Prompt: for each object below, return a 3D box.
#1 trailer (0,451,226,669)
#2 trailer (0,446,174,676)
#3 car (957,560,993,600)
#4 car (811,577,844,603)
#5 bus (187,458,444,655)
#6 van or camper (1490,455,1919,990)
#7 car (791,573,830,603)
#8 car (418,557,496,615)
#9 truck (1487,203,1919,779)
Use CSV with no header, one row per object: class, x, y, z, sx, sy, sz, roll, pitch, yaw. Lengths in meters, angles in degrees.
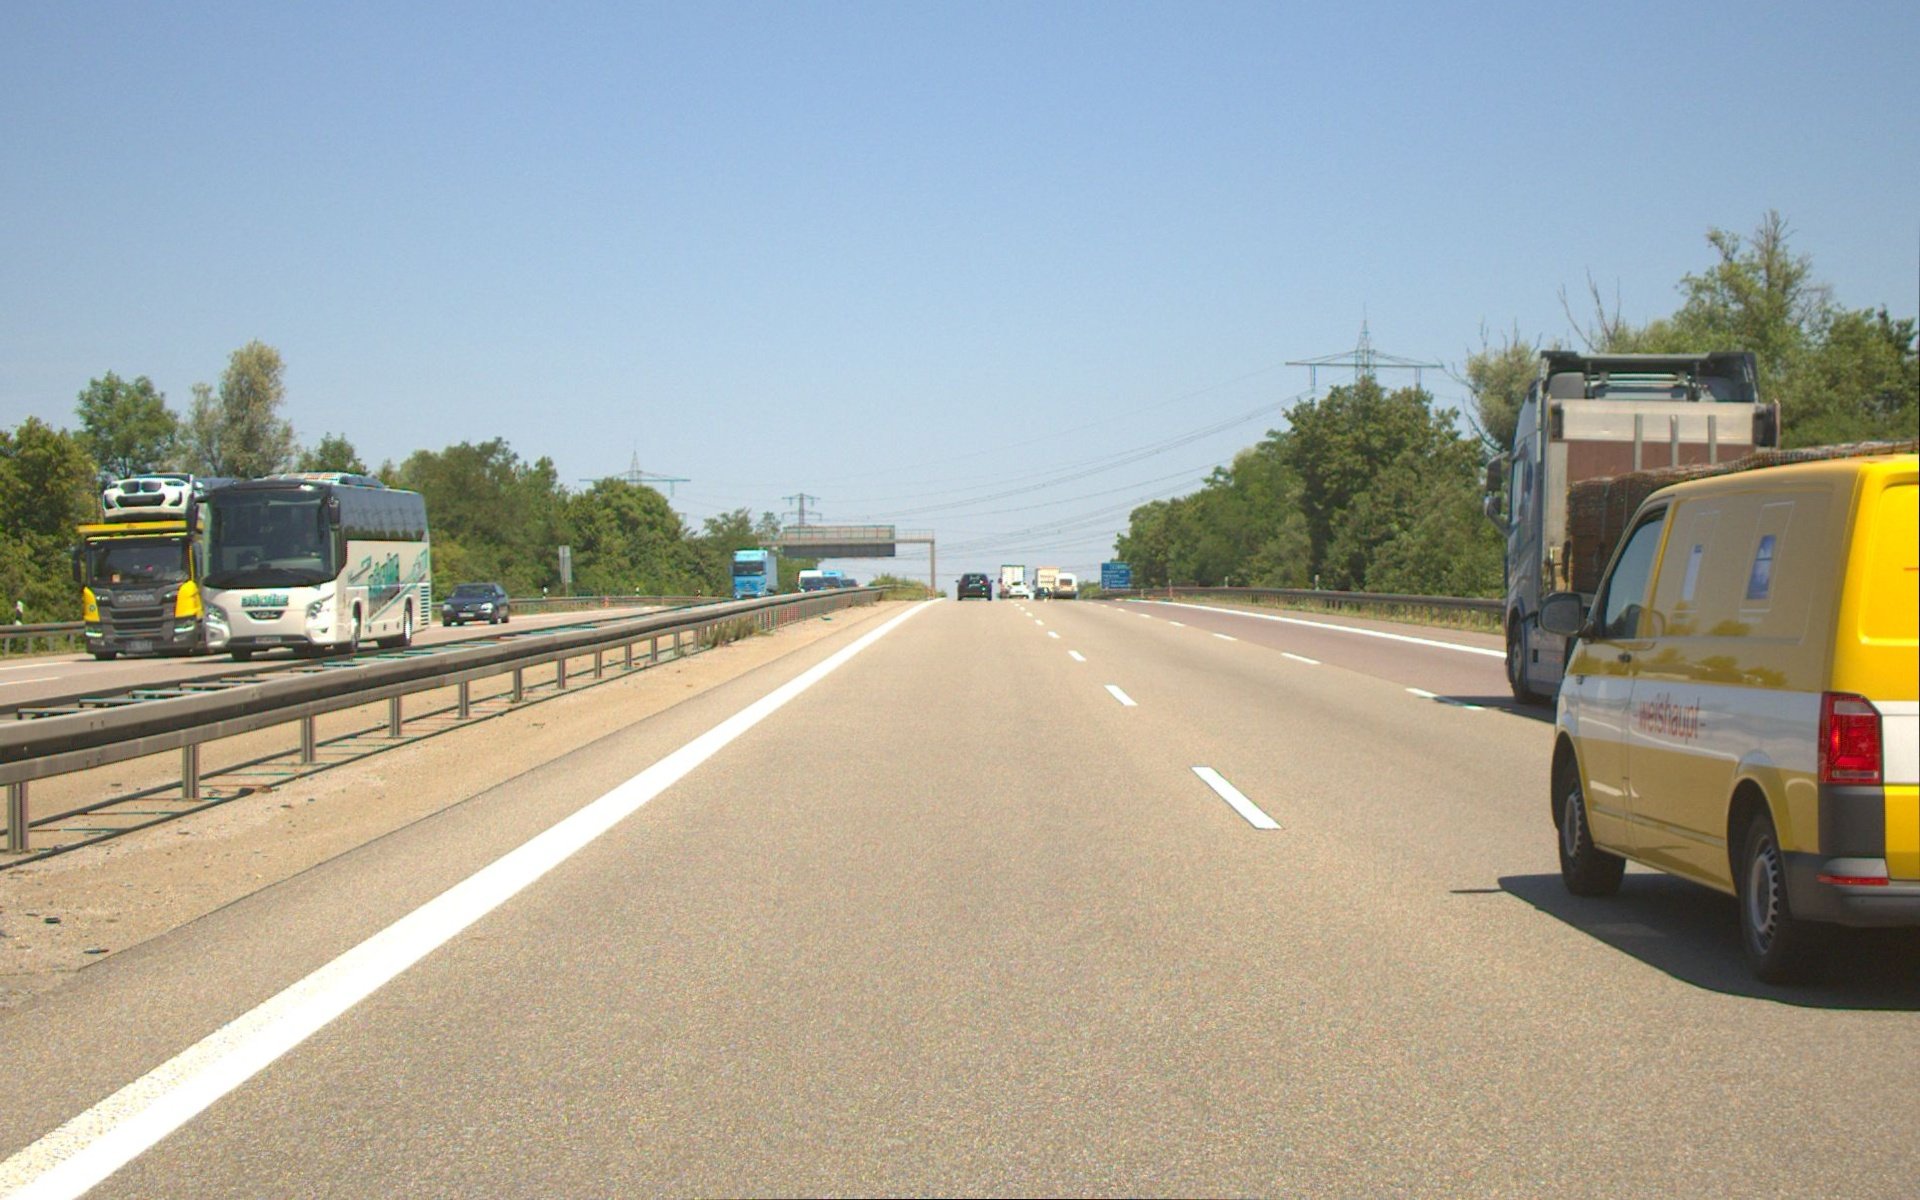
trailer,-17.558,-0.779,69.200,2.921,3.954,11.651,-2,1,0
trailer,-17.562,-0.697,64.759,2.921,3.954,10.536,-2,1,0
car,0.767,-1.013,178.194,1.791,2.007,3.887,1,0,1
car,-8.895,-0.668,231.566,1.993,1.684,4.408,-1,0,0
bus,-12.999,-0.895,70.633,2.694,3.571,12.793,-3,1,0
van or camper,3.759,0.416,14.762,1.993,1.903,4.972,1,1,-2
car,-9.121,-0.728,210.410,1.994,1.599,4.599,-7,0,0
car,-17.408,-0.496,119.127,1.993,1.866,4.582,-4,1,-1
truck,7.700,-0.742,31.841,2.969,3.944,16.613,1,0,0
